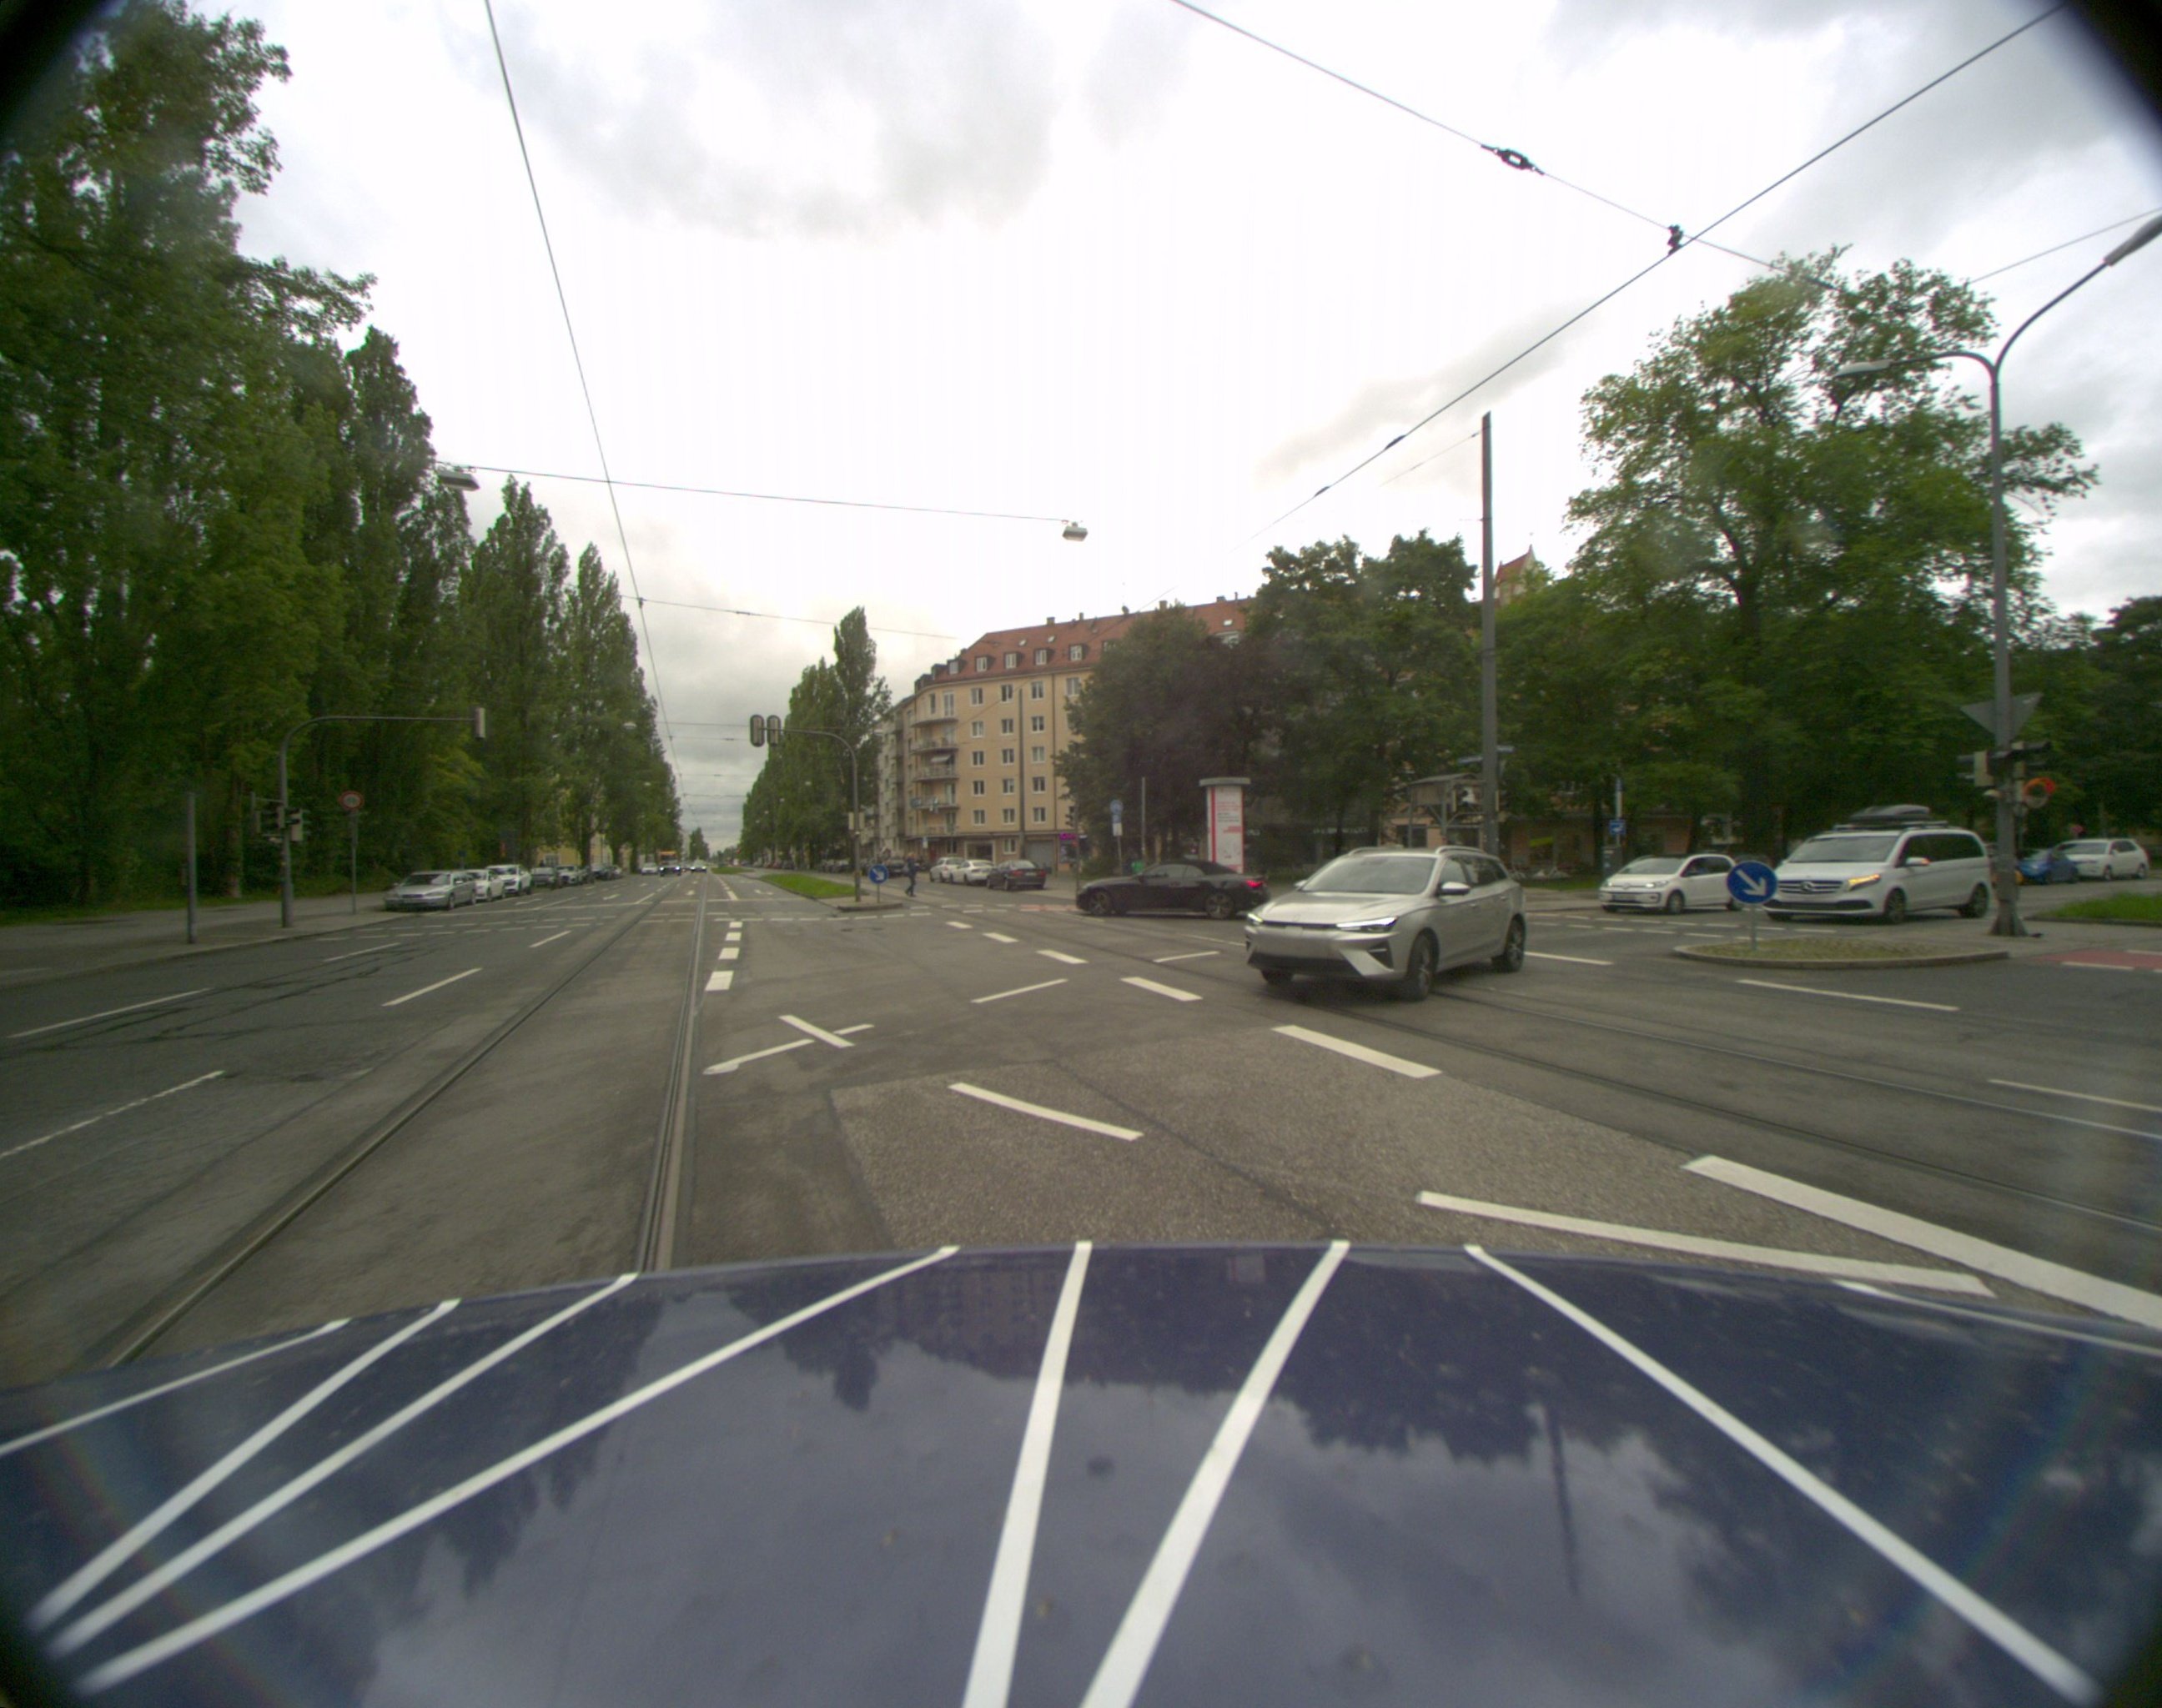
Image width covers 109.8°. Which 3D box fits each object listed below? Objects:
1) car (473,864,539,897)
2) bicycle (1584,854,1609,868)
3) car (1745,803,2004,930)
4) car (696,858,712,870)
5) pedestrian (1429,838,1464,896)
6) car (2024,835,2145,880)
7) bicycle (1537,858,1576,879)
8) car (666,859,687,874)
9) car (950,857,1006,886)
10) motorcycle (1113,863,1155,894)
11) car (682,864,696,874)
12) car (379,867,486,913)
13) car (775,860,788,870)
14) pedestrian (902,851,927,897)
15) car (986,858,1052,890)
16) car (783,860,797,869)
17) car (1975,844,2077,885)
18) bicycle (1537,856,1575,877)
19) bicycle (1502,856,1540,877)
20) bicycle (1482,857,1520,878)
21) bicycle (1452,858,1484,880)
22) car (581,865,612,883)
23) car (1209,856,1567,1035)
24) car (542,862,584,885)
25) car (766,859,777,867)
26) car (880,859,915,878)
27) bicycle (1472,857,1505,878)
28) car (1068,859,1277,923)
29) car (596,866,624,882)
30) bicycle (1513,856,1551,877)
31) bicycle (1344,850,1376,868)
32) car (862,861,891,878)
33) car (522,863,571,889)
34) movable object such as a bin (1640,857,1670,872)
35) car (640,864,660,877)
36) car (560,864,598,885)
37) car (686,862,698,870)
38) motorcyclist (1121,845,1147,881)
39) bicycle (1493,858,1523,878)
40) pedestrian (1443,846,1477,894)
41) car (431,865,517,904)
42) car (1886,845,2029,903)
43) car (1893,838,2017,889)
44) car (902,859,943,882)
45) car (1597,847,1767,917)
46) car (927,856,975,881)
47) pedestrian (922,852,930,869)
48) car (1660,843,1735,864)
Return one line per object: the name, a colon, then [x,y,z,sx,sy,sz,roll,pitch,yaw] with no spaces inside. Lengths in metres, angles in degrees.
car: [-28.862,1.287,38.240,1.789,1.477,4.130,-2,1,-25]
bicycle: [26.826,0.372,39.533,0.319,0.719,1.178,-2,-1,-12]
car: [16.462,0.187,15.774,4.950,2.337,1.910,-1,1,-20]
car: [-51.836,1.380,104.585,1.789,1.477,4.130,-2,1,-25]
pedestrian: [10.932,0.369,22.717,0.546,1.652,0.719,-2,5,-22]
car: [43.886,0.127,33.217,5.029,1.845,1.846,-1,1,-21]
bicycle: [21.090,0.643,33.710,1.409,0.888,0.314,-3,-1,32]
car: [-44.526,1.376,83.685,1.789,1.477,4.130,-2,1,-25]
car: [-5.596,0.892,40.798,1.733,1.399,4.366,-1,1,-25]
motorcycle: [2.164,0.988,31.233,0.631,1.163,2.024,-5,4,-32]
car: [-61.243,2.356,118.677,1.789,1.477,4.130,-2,1,-25]
car: [-24.206,1.279,28.546,1.789,1.477,4.344,-2,1,-23]
car: [-57.245,2.055,145.201,1.821,1.707,3.992,-2,-1,-28]
pedestrian: [-6.134,0.737,28.078,0.551,1.652,0.703,-2,0,19]
car: [-2.907,0.882,34.999,1.733,1.308,3.991,-1,1,-25]
car: [-51.974,1.821,135.736,1.821,1.461,3.992,-2,-1,-28]
car: [38.409,0.399,30.887,3.665,1.540,1.522,-1,1,-21]
bicycle: [21.356,0.575,34.150,1.409,0.888,0.314,-3,-1,32]
bicycle: [19.206,0.560,33.183,1.408,0.888,0.314,-1,1,43]
bicycle: [18.014,0.595,32.642,0.314,0.888,1.409,-2,-1,-35]
bicycle: [16.355,0.649,32.123,0.313,0.888,1.411,-2,-1,-14]
car: [-44.162,1.763,69.346,1.789,1.477,4.130,-2,1,-25]
car: [3.618,0.834,8.662,4.216,1.515,1.772,-1,-1,-36]
car: [-36.668,1.364,53.900,1.789,1.477,4.130,-2,1,-25]
car: [-70.618,2.148,173.227,2.003,1.695,3.992,-2,-1,-28]
car: [-14.401,1.109,59.504,1.733,1.399,4.465,-1,1,-25]
bicycle: [17.377,0.577,32.424,0.313,0.888,1.411,-2,-1,-14]
car: [2.235,0.860,18.538,4.788,1.381,1.732,-1,1,19]
car: [-46.946,1.947,75.799,1.789,1.477,4.130,-2,1,-25]
bicycle: [19.887,0.540,33.493,1.409,0.888,0.314,-3,-1,32]
bicycle: [21.314,0.363,58.104,2.244,1.281,0.507,-2,0,15]
car: [-18.108,1.331,67.061,1.733,1.399,4.198,-1,1,-25]
car: [-33.506,1.351,47.736,1.789,1.477,4.130,-2,1,-25]
movable object such as a bin: [33.037,0.605,43.758,0.774,0.867,1.180,-1,1,-13]
car: [-55.103,2.095,97.206,1.789,1.477,4.130,-2,1,-25]
car: [-38.897,1.534,58.946,1.789,1.477,4.130,-2,1,-25]
car: [-74.224,2.307,144.939,1.789,1.477,4.130,-2,1,-25]
motorcyclist: [2.164,0.383,31.167,0.622,1.435,0.879,-3,1,-33]
bicycle: [20.356,0.679,36.190,1.413,0.888,0.313,-2,0,-15]
pedestrian: [11.472,0.481,22.993,0.546,1.396,0.719,-2,3,-22]
car: [-26.597,1.271,33.465,1.788,1.477,4.251,-2,1,-22]
car: [25.721,0.558,22.271,4.214,1.515,1.773,-1,-1,-27]
car: [33.354,0.324,28.982,4.560,1.809,1.933,-1,1,-25]
car: [-10.986,1.105,52.405,1.733,1.399,4.366,-1,1,-25]
car: [15.095,0.654,19.054,4.214,1.515,1.772,-1,-1,-28]
car: [-7.896,0.826,45.767,1.733,1.399,4.366,-1,1,-25]
pedestrian: [-14.720,0.629,72.150,0.547,1.655,0.651,-2,0,-30]
car: [48.612,-0.008,60.030,1.862,1.458,4.439,-2,-1,-11]
